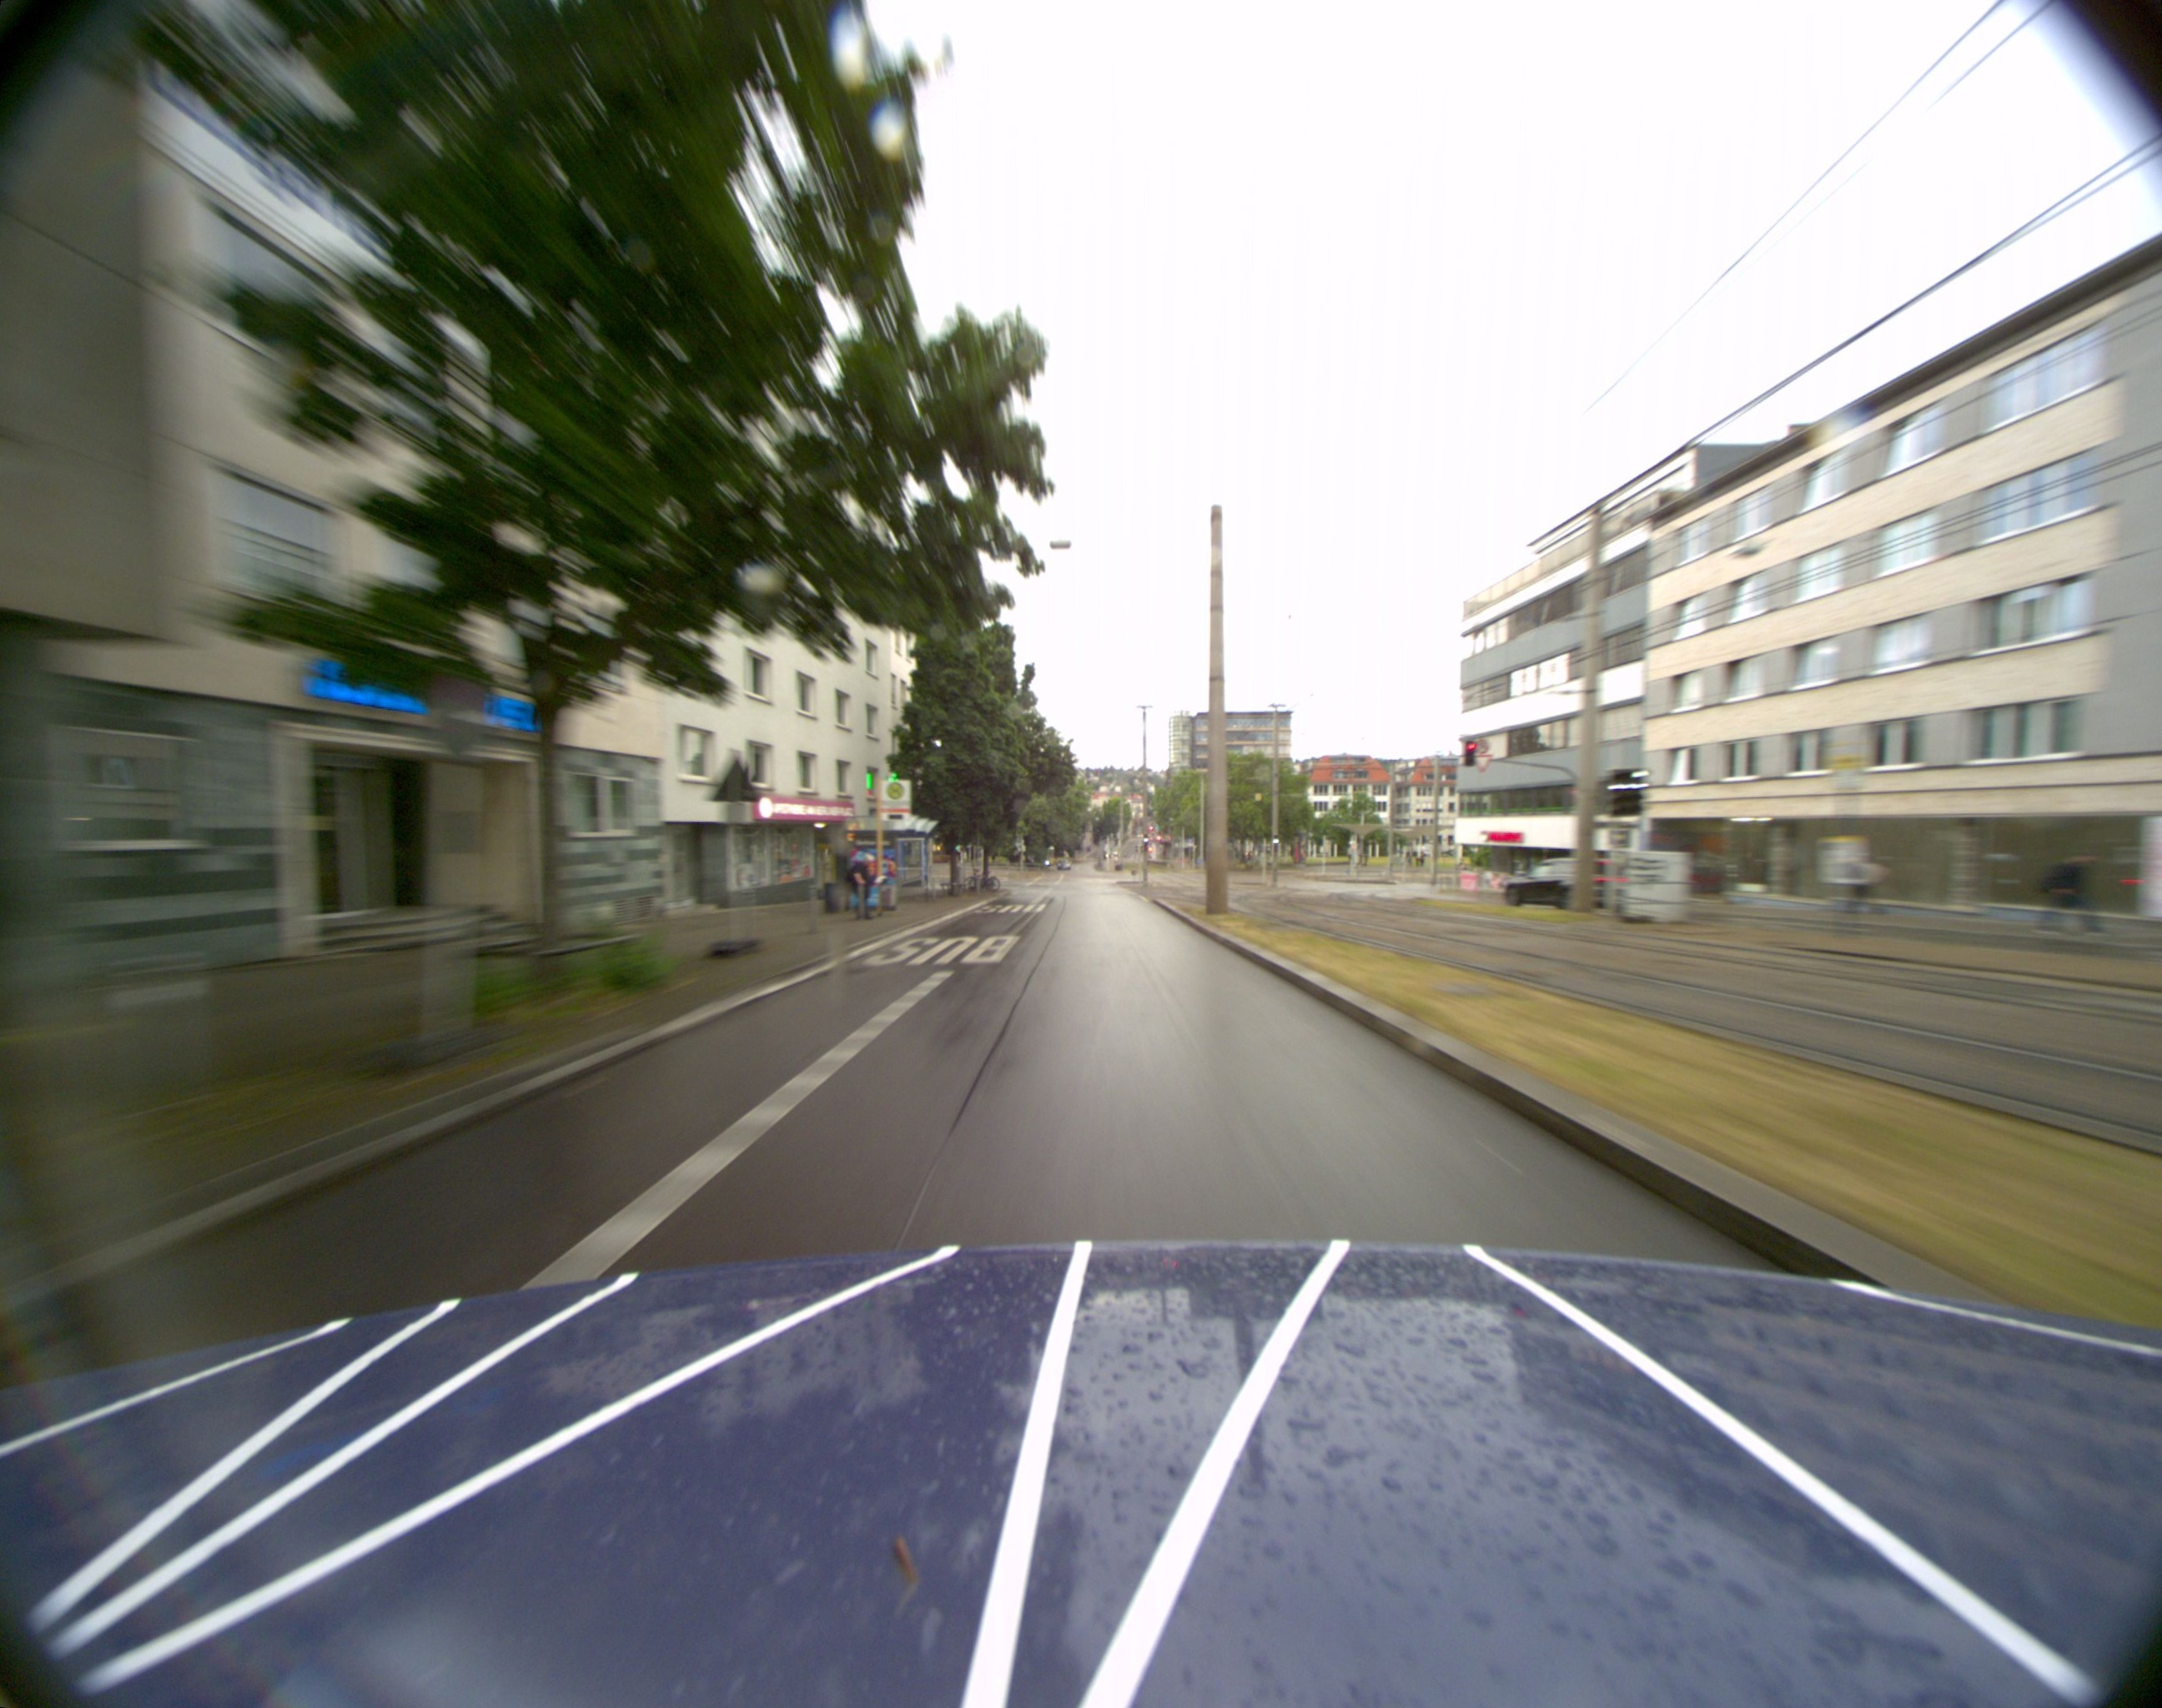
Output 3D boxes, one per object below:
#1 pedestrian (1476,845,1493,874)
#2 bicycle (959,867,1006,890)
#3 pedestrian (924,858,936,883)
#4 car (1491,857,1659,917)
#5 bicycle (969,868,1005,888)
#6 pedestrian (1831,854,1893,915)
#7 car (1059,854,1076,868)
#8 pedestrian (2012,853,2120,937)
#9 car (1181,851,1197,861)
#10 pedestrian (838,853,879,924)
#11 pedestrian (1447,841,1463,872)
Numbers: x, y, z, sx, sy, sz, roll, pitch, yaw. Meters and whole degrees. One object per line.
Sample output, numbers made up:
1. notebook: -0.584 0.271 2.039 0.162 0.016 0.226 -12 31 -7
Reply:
1. pedestrian: 26.771 0.329 50.457 0.719 1.903 0.698 0 2 -1
2. bicycle: -5.054 1.258 38.989 2.321 1.167 0.649 0 2 4
3. pedestrian: -10.448 1.142 52.611 0.703 1.703 0.530 1 2 42
4. car: 14.875 0.921 23.247 1.999 1.663 4.526 0 0 -3
5. bicycle: -5.056 1.295 41.029 1.820 1.085 0.649 0 -1 4
6. pedestrian: 21.958 0.833 21.386 0.680 1.671 0.998 0 0 -1
7. car: -1.683 0.821 97.799 1.998 1.696 4.000 0 1 2
8. pedestrian: 20.157 0.816 15.572 0.890 1.671 0.998 0 0 0
9. car: 17.952 0.364 126.670 2.104 1.497 4.731 0 1 2
10. pedestrian: -5.236 0.792 17.905 0.667 1.617 0.967 0 0 0
11. pedestrian: 23.688 0.157 48.082 0.696 1.903 0.721 2 2 42
